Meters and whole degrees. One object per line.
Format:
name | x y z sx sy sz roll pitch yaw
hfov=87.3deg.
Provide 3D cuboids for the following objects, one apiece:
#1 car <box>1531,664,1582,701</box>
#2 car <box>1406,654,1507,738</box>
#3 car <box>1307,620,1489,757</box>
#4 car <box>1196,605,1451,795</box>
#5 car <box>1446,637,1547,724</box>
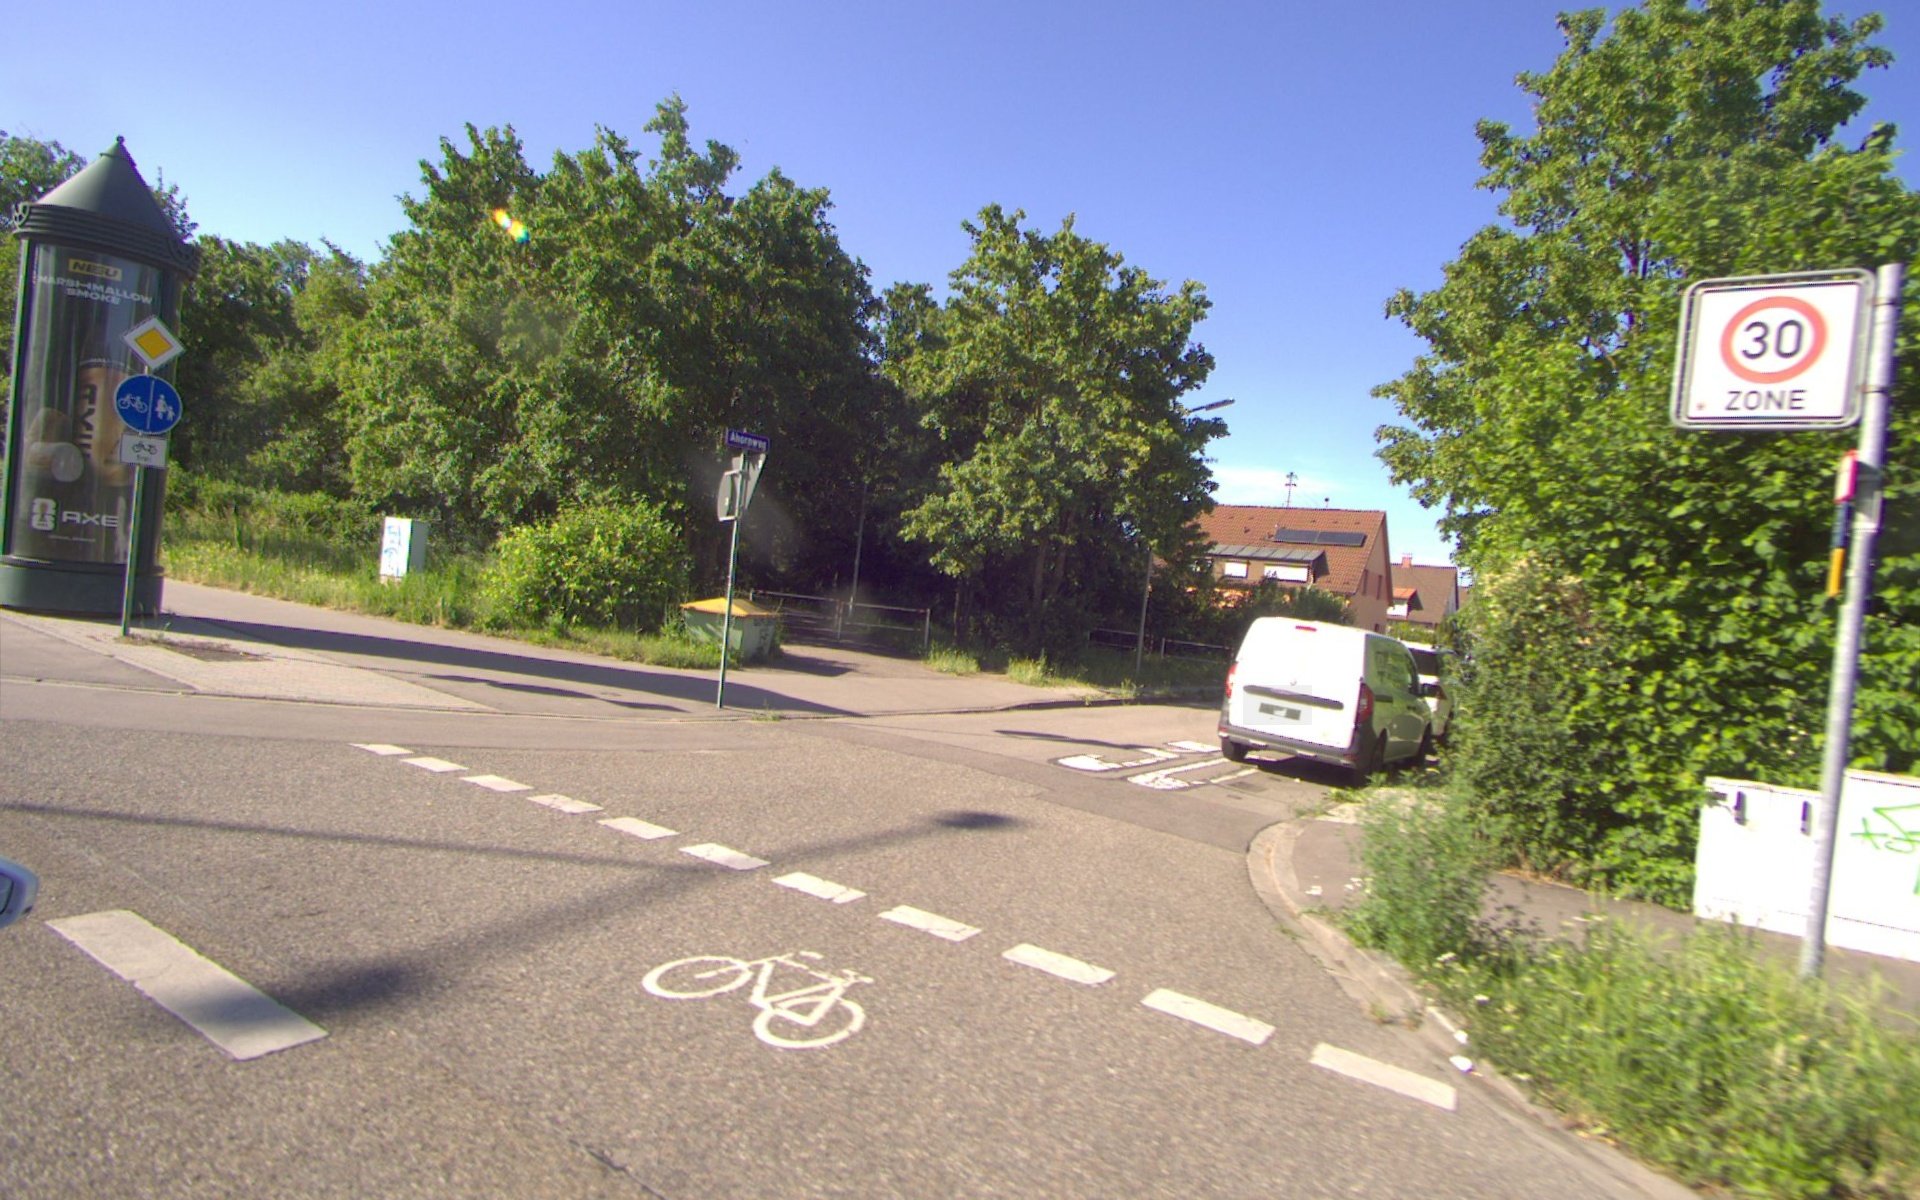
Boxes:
car | 29.480 4.048 49.663 1.779 1.415 3.815 9 3 34
car | 10.855 2.065 21.927 1.515 1.508 2.347 9 1 34
car | 8.018 1.551 18.158 2.038 1.892 4.519 9 1 34
car | 4.964 1.235 13.263 1.901 1.824 4.633 9 1 34
car | 15.716 2.342 29.375 1.955 2.071 4.381 9 1 34
